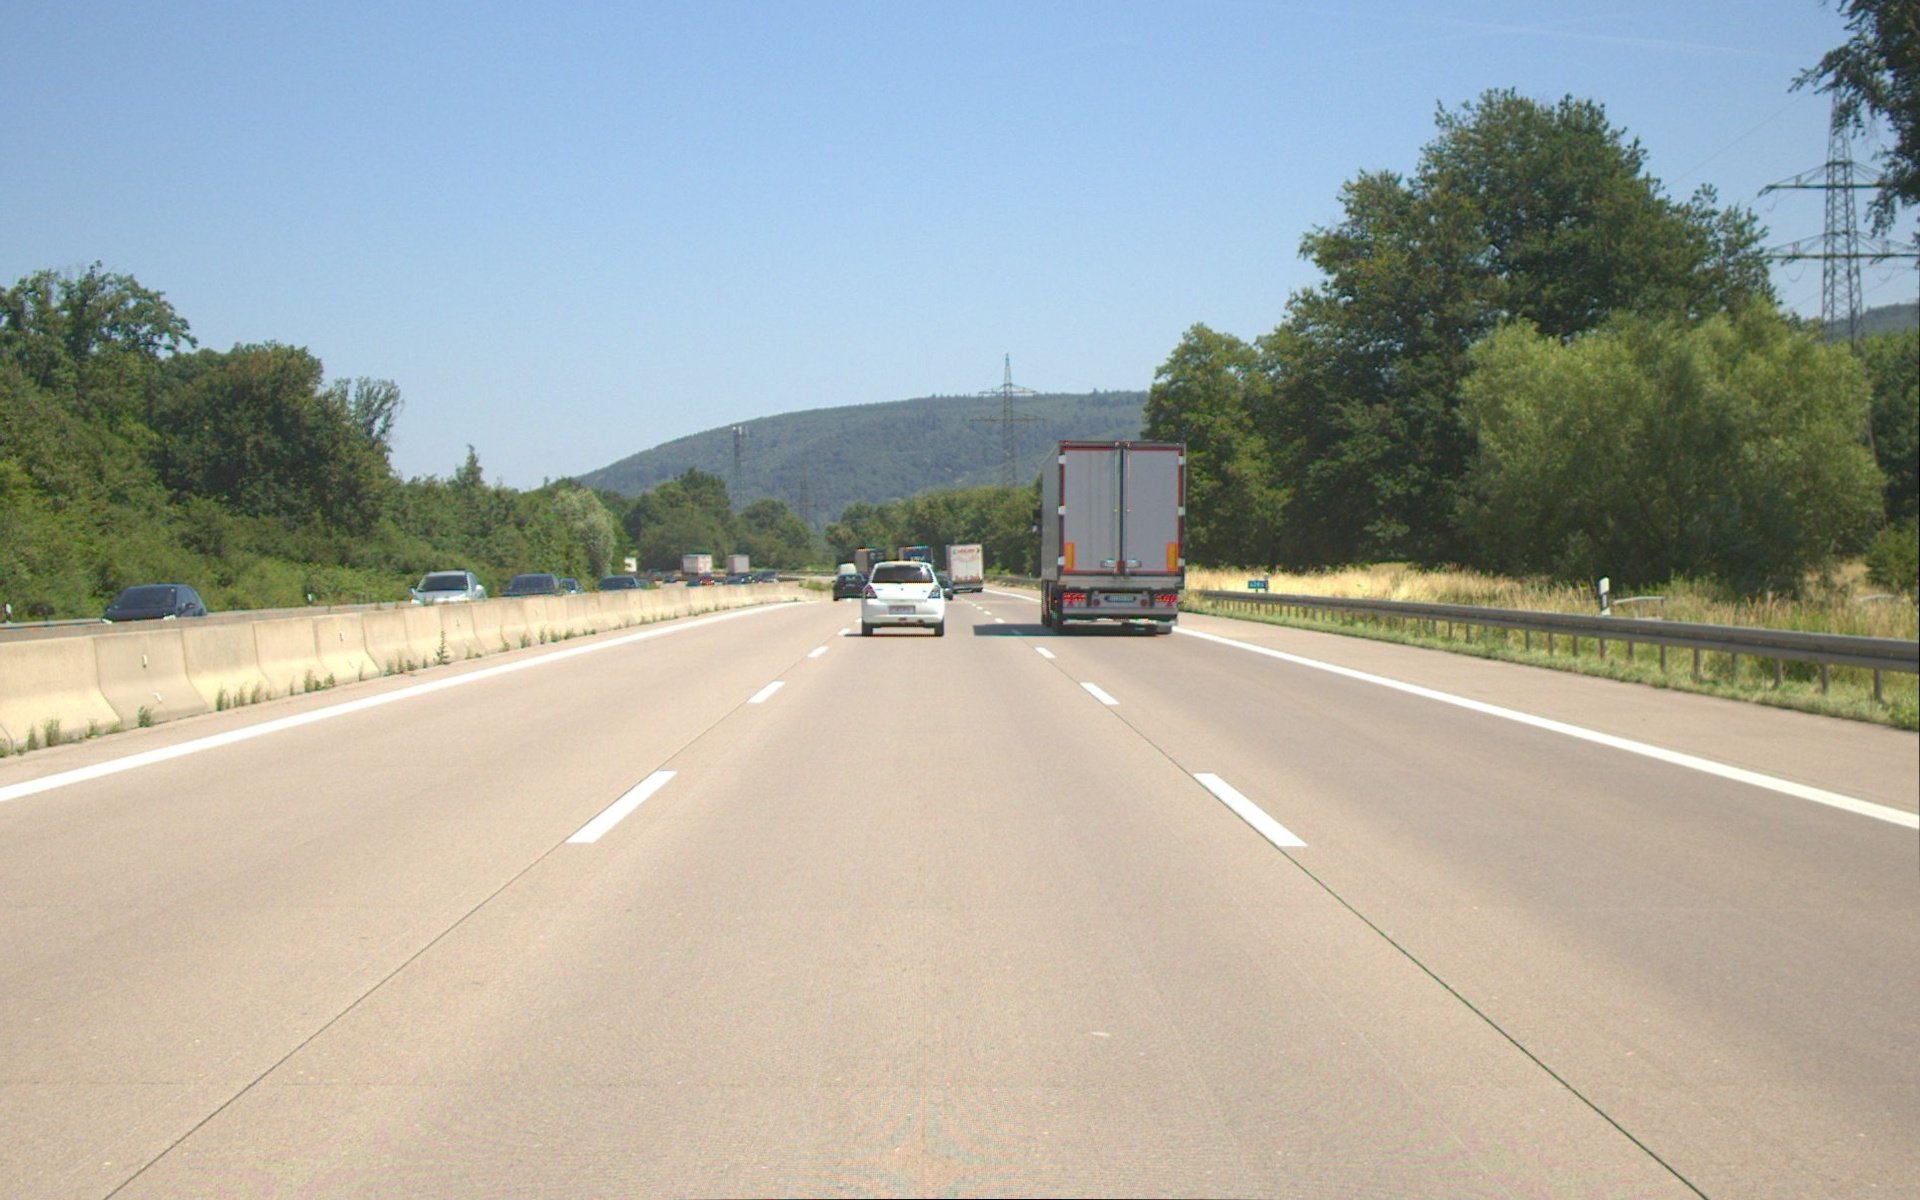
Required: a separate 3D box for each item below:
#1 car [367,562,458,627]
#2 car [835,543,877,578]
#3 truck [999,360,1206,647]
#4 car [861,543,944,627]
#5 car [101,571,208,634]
[{"bbox_3d":[-14.814,-0.176,93.263,1.709,1.672,4.929,-1,1,-1],"label":"car"},{"bbox_3d":[-5.395,-2.042,177.883,2.022,1.695,4.001,1,1,-3],"label":"car"},{"bbox_3d":[2.988,-2.091,78.491,3.577,5.767,18.248,0,1,-1],"label":"truck"},{"bbox_3d":[-1.163,-0.332,70.371,1.641,1.656,3.360,1,1,0],"label":"car"},{"bbox_3d":[-17.807,0.041,76.112,1.565,1.315,3.633,-1,1,-1],"label":"car"}]
